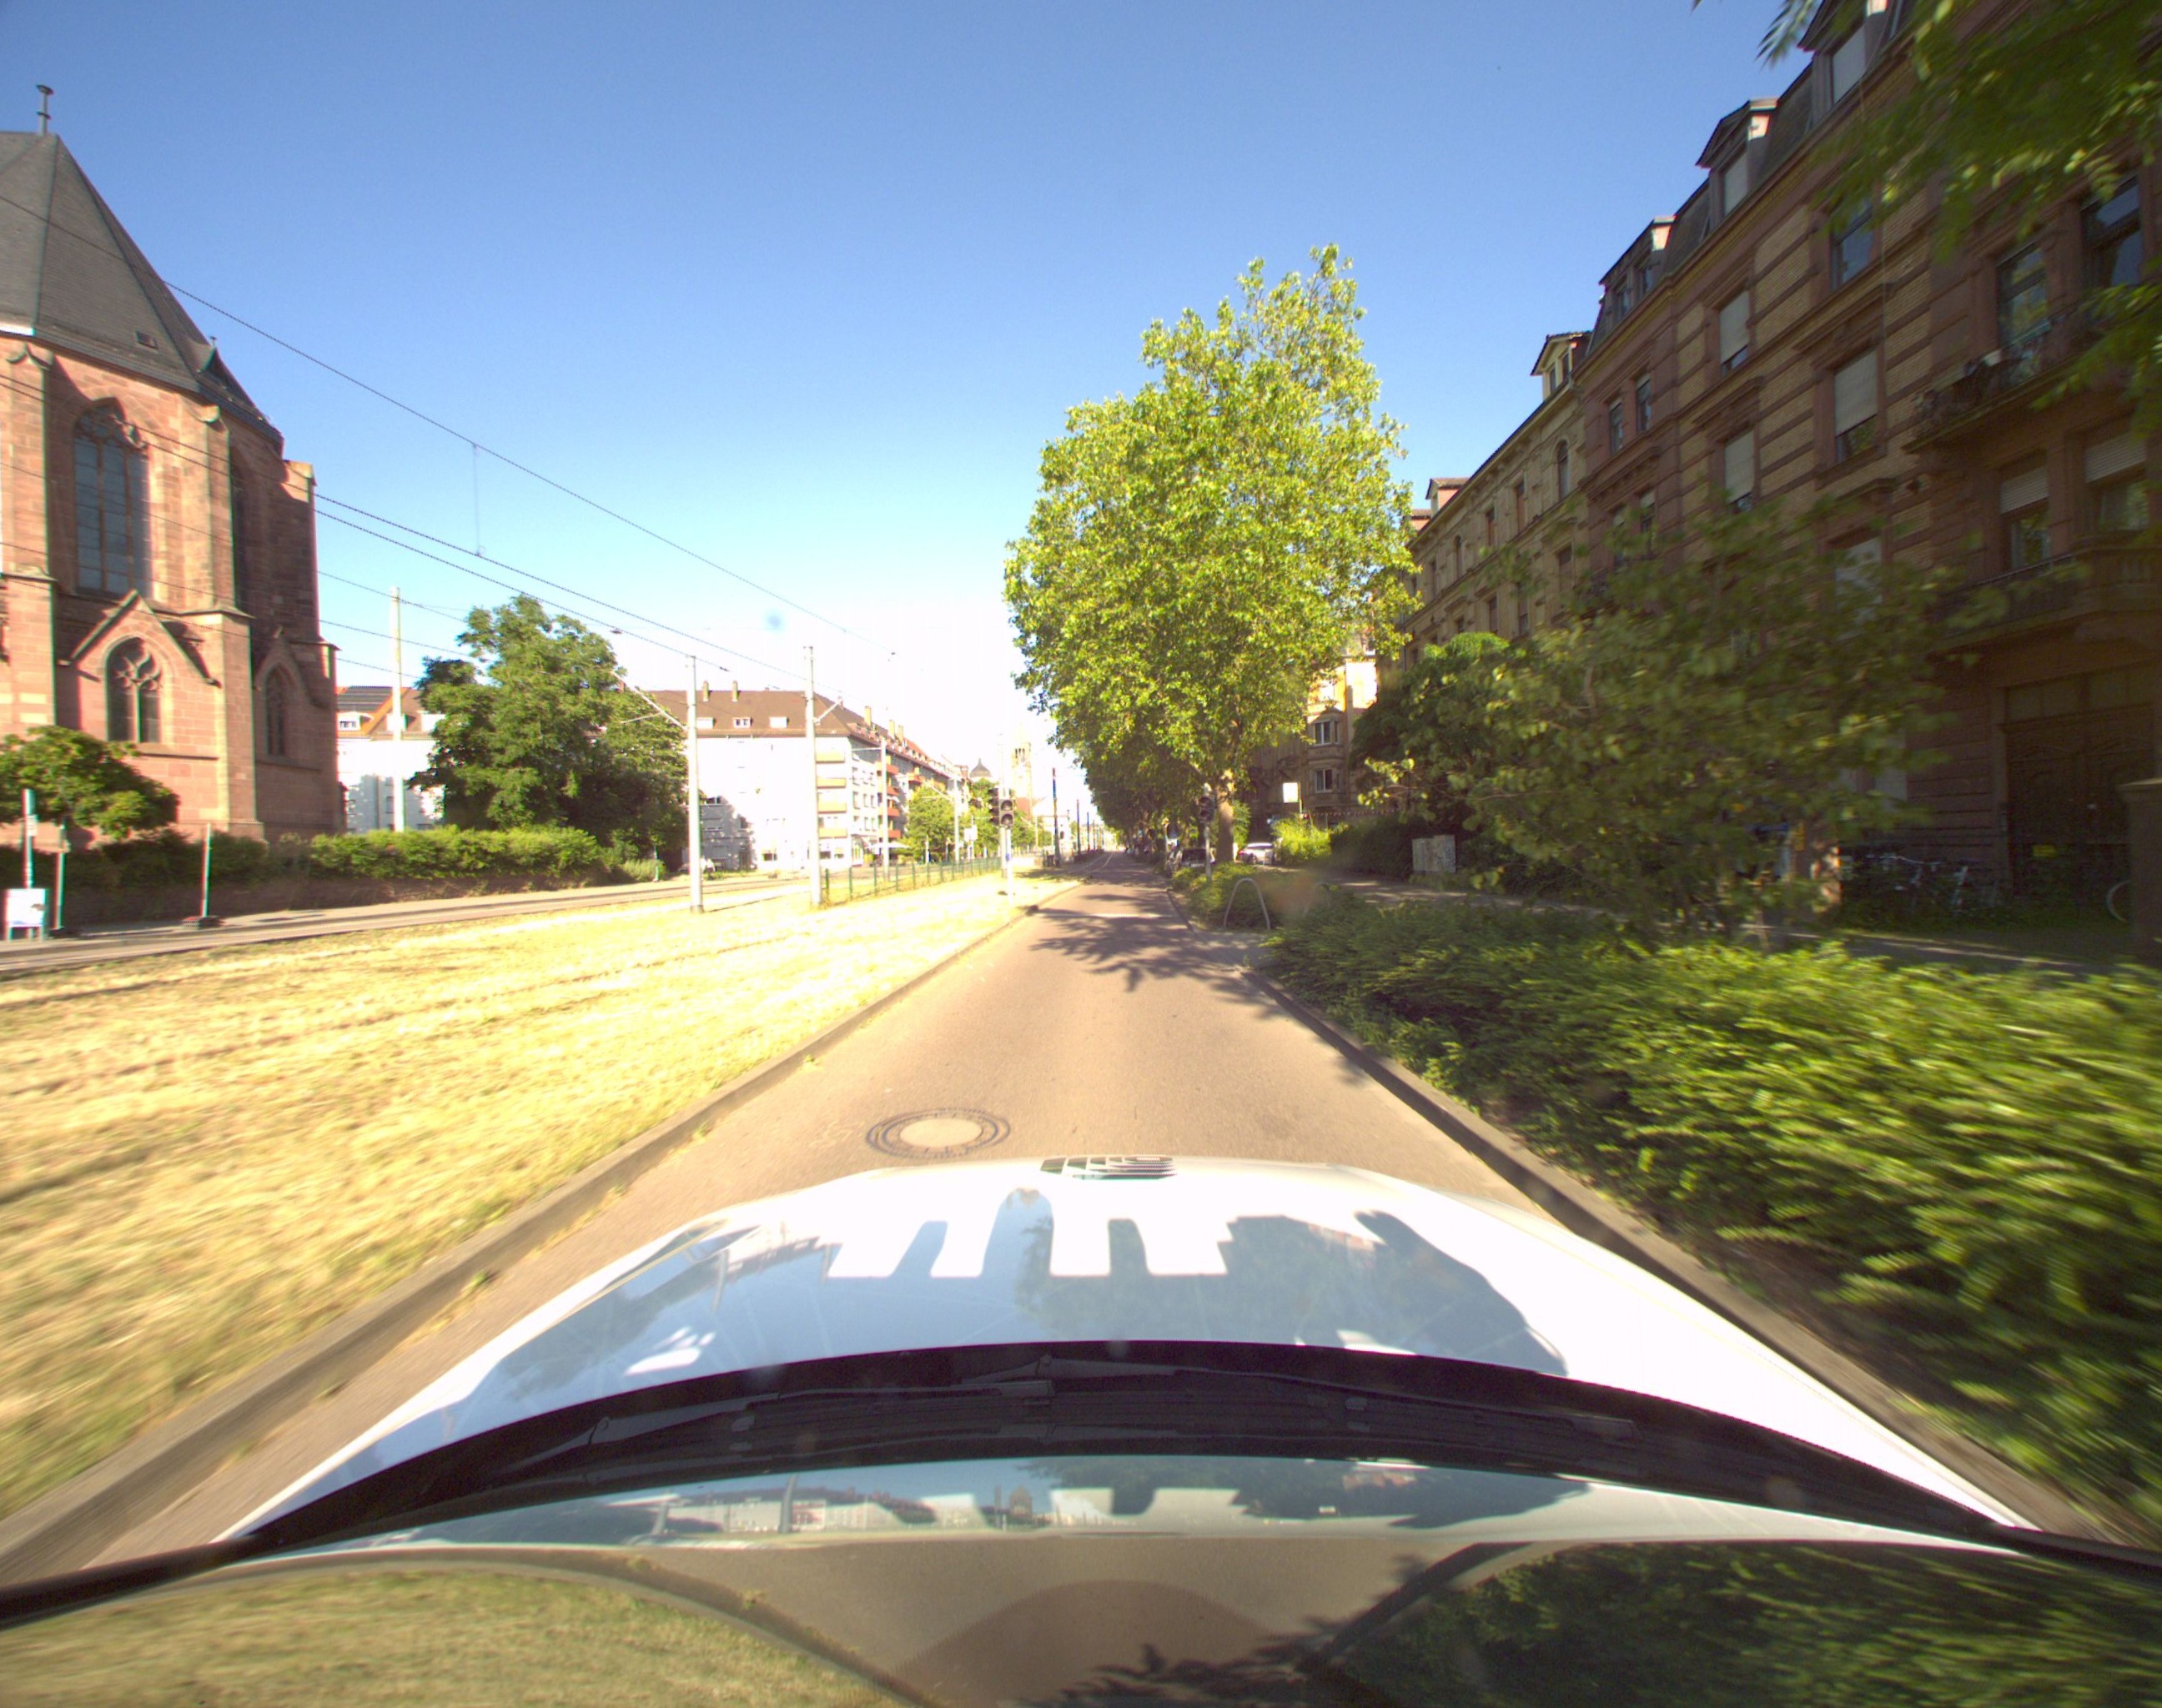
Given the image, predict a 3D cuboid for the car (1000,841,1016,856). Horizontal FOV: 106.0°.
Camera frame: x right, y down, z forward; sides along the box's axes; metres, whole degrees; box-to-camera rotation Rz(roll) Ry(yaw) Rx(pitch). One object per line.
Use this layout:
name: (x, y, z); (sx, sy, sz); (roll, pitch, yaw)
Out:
car: (-11.120, -0.814, 124.006); (1.987, 2.013, 4.000); (-3, 3, 0)

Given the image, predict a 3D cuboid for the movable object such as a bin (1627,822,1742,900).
movable object such as a bin: (11.509, 0.121, 15.596); (1.227, 1.382, 1.258); (-3, 0, 1)

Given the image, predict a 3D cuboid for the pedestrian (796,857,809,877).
pedestrian: (-22.423, 1.046, 65.546); (0.685, 1.467, 0.592); (-3, 3, 6)

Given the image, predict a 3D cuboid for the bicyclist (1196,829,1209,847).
bicyclist: (10.228, -1.360, 68.697); (0.812, 1.404, 0.823); (-3, 3, -7)

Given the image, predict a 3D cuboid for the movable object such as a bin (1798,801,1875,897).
movable object such as a bin: (13.942, -0.106, 15.045); (0.752, 1.692, 0.743); (-3, 3, 0)

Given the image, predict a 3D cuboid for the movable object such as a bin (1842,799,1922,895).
movable object such as a bin: (14.771, -0.146, 15.029); (0.752, 1.692, 0.743); (-3, 3, 0)

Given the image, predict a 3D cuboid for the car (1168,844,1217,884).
car: (4.650, 0.360, 34.384); (1.636, 1.511, 4.186); (-3, 1, 3)

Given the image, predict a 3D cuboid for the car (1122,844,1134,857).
car: (8.291, -0.601, 143.980); (1.985, 2.107, 4.003); (0, -1, 3)

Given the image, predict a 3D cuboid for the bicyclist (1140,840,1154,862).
bicyclist: (5.942, -0.255, 73.431); (1.137, 1.890, 0.683); (-3, 3, 2)

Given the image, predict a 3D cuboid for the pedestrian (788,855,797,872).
pedestrian: (-26.376, 0.837, 74.368); (0.592, 1.467, 0.908); (-4, 3, -27)

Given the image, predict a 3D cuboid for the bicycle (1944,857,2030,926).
bicycle: (12.193, 0.495, 10.971); (0.766, 0.854, 0.375); (-3, 3, -1)

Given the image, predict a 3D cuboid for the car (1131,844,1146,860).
car: (7.889, -0.300, 111.410); (1.985, 2.107, 4.003); (0, -1, 3)

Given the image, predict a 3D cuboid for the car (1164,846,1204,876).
car: (5.149, 0.321, 40.988); (1.636, 1.373, 4.186); (-3, 1, 3)

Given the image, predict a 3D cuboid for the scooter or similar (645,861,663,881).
scooter or similar: (-28.166, 1.107, 53.680); (0.400, 1.261, 1.232); (-3, 3, 3)

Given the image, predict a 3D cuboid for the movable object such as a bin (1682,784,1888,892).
movable object such as a bin: (14.606, -0.319, 17.141); (1.540, 1.996, 3.232); (-3, 0, 2)

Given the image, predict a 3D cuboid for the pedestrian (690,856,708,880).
pedestrian: (-26.377, 0.958, 56.245); (0.641, 1.598, 0.899); (-3, 3, 3)

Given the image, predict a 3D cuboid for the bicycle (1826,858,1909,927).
bicycle: (10.608, 0.511, 10.990); (0.766, 0.854, 0.375); (-3, 3, -1)

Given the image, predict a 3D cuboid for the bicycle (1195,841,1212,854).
bicycle: (10.288, -0.540, 68.629); (0.812, 0.957, 2.313); (-3, 3, -6)

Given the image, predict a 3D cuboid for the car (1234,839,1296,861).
car: (12.965, -0.295, 57.625); (3.968, 1.420, 2.003); (-2, 0, 5)

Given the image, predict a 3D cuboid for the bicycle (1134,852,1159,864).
bicycle: (5.903, 0.320, 73.454); (2.233, 0.976, 0.683); (-2, 3, 1)

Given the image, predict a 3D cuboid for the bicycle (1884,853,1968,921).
bicycle: (11.406, 0.442, 11.003); (0.766, 0.854, 0.375); (-3, 3, -1)

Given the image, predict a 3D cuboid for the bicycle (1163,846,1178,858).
bicycle: (8.114, -0.202, 74.037); (0.812, 0.957, 2.313); (-3, 3, -6)

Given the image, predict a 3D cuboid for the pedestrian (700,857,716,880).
pedestrian: (-25.729, 0.980, 56.203); (0.586, 1.467, 0.917); (-3, 3, 3)

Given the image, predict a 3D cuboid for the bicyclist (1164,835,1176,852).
bicyclist: (8.081, -0.960, 74.008); (0.812, 1.404, 1.079); (-3, 3, -6)
